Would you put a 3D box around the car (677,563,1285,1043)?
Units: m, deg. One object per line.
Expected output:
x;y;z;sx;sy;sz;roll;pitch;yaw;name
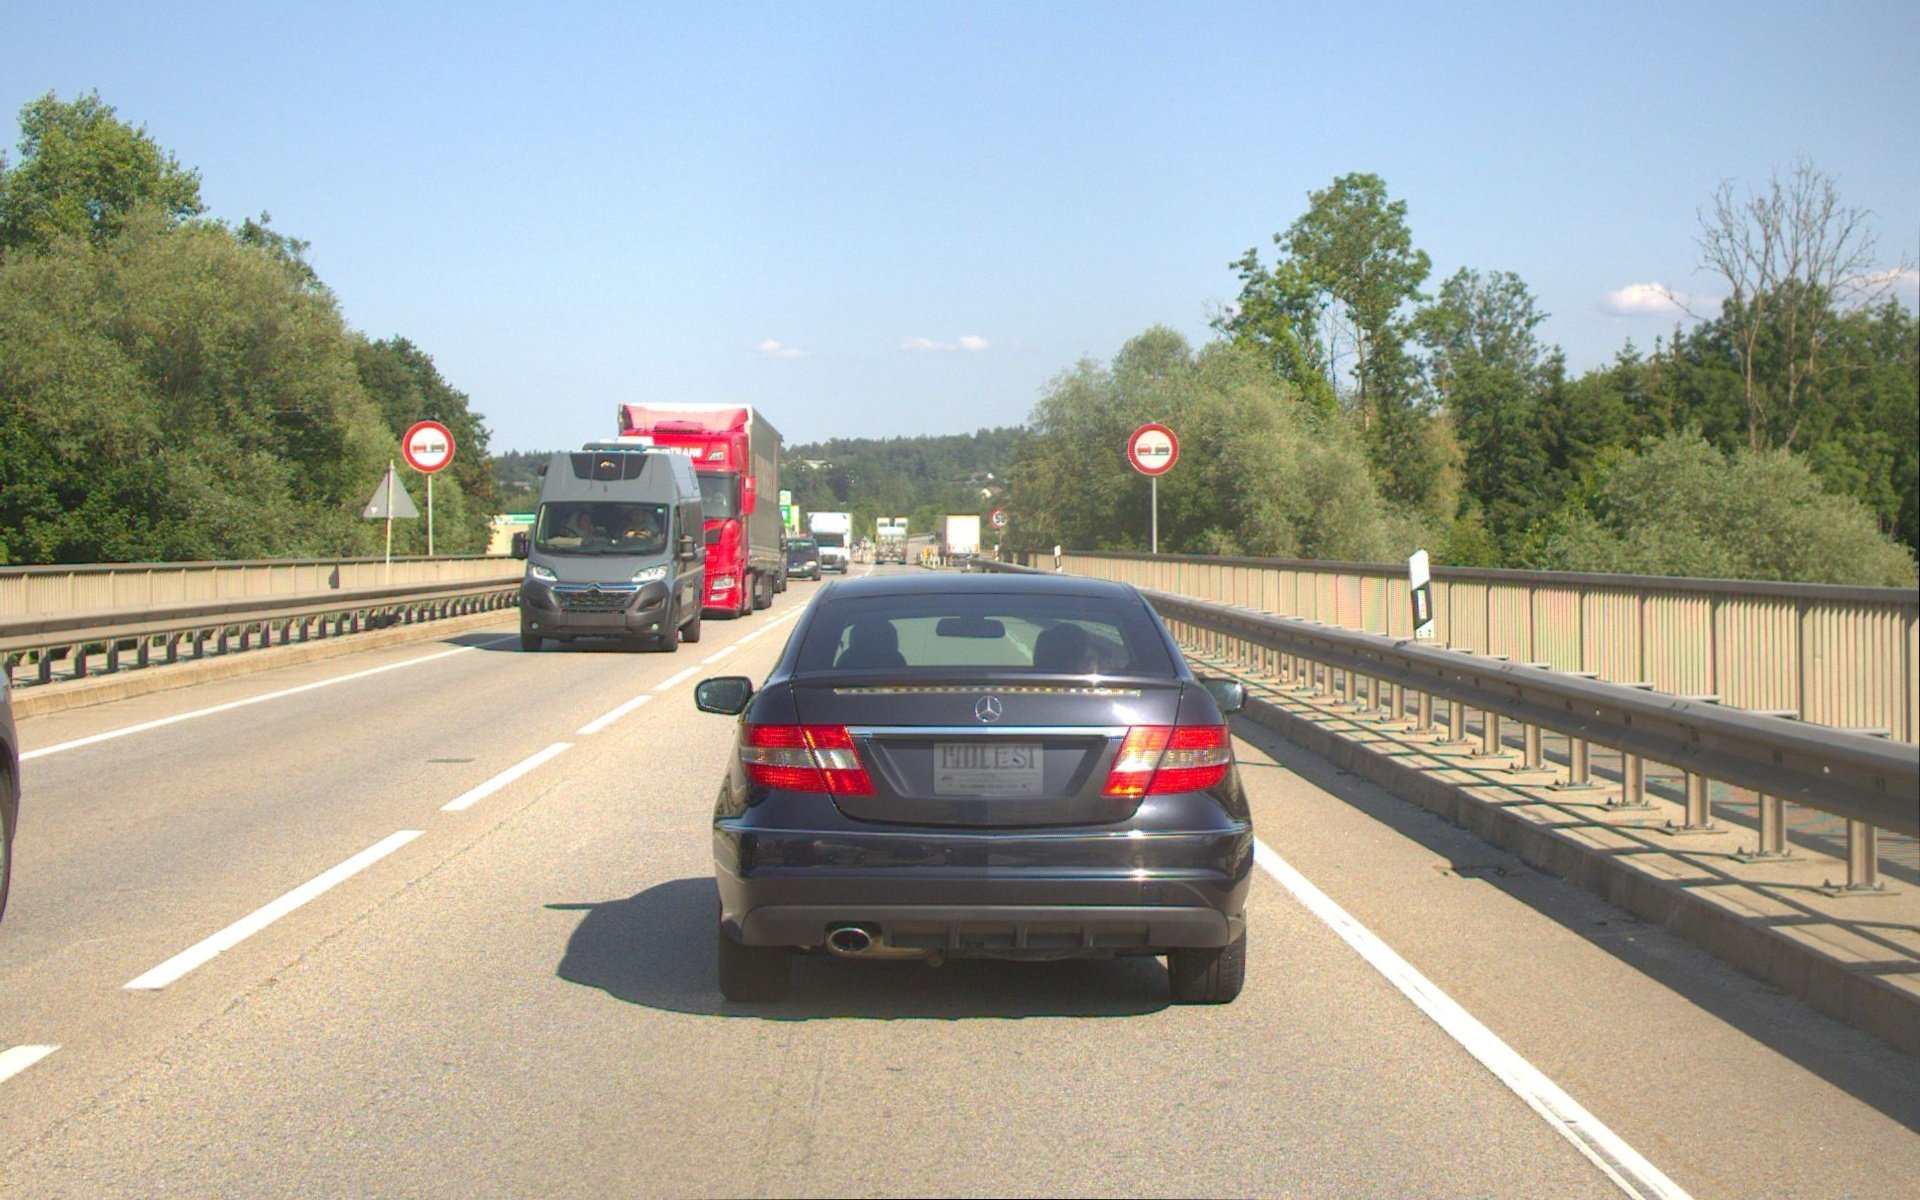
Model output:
0.073;0.578;12.146;1.793;1.371;4.000;0;1;0;car

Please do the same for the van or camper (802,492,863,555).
-6.726;-4.037;182.440;2.635;3.244;7.749;0;1;2;van or camper

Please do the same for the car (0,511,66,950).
-4.391;0.497;11.114;1.874;1.578;4.274;0;1;0;car

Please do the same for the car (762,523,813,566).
-6.757;-2.178;134.411;1.841;1.636;4.578;0;1;-5;car

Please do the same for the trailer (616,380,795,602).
-5.278;-2.278;73.895;2.907;4.287;14.303;0;1;-1;trailer

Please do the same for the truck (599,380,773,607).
-5.216;-2.033;66.440;2.908;4.170;5.713;0;1;0;truck

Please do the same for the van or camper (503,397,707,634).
-4.837;-1.169;47.802;2.315;3.040;6.818;1;1;-2;van or camper
